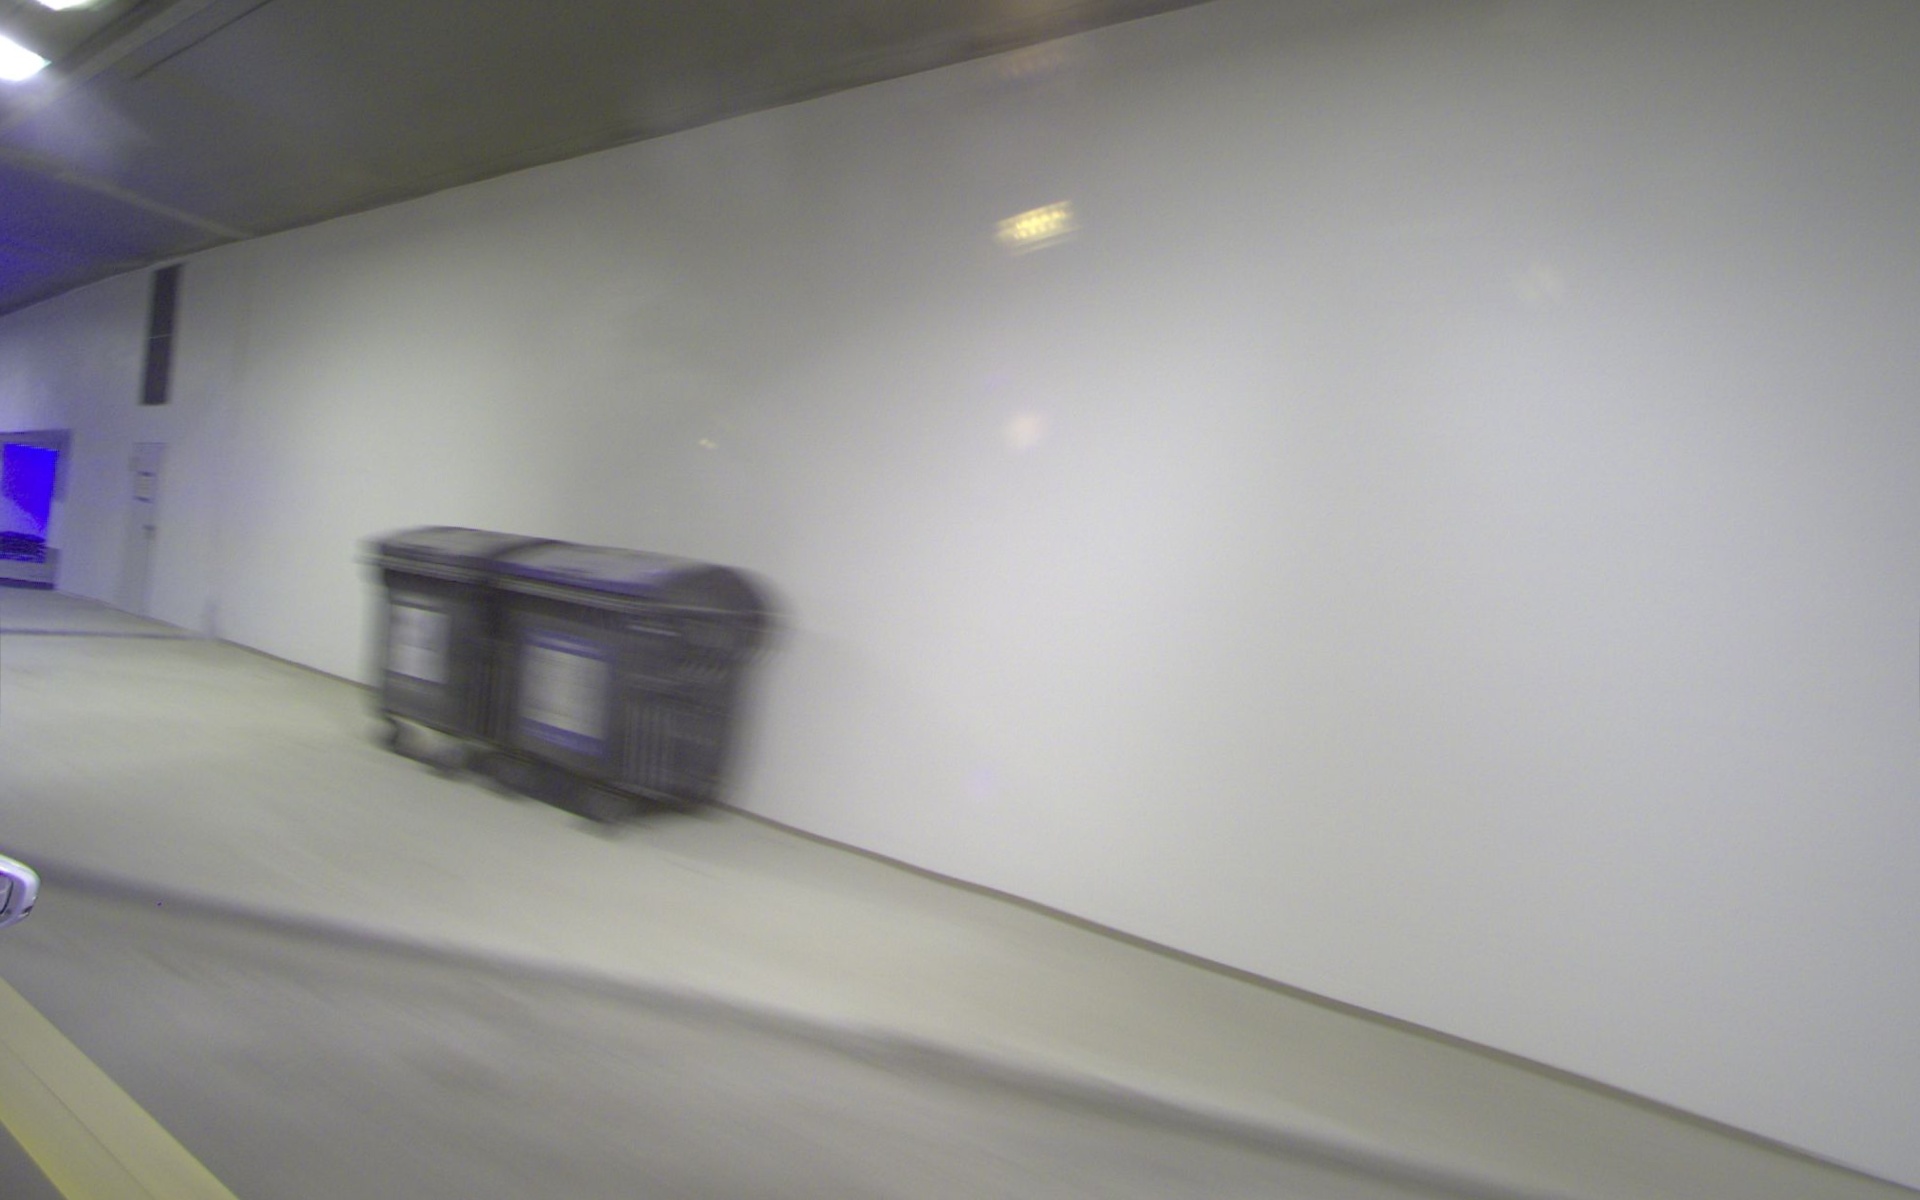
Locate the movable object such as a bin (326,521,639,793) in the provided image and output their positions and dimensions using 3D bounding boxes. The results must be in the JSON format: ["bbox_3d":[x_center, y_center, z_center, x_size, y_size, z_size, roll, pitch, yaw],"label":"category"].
[{"bbox_3d":[-3.042,0.342,6.446,1.342,1.462,1.147,6,-1,33],"label":"movable object such as a bin"}]

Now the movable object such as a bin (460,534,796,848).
[{"bbox_3d":[-1.866,0.470,5.707,1.301,1.462,1.099,6,-1,33],"label":"movable object such as a bin"}]
